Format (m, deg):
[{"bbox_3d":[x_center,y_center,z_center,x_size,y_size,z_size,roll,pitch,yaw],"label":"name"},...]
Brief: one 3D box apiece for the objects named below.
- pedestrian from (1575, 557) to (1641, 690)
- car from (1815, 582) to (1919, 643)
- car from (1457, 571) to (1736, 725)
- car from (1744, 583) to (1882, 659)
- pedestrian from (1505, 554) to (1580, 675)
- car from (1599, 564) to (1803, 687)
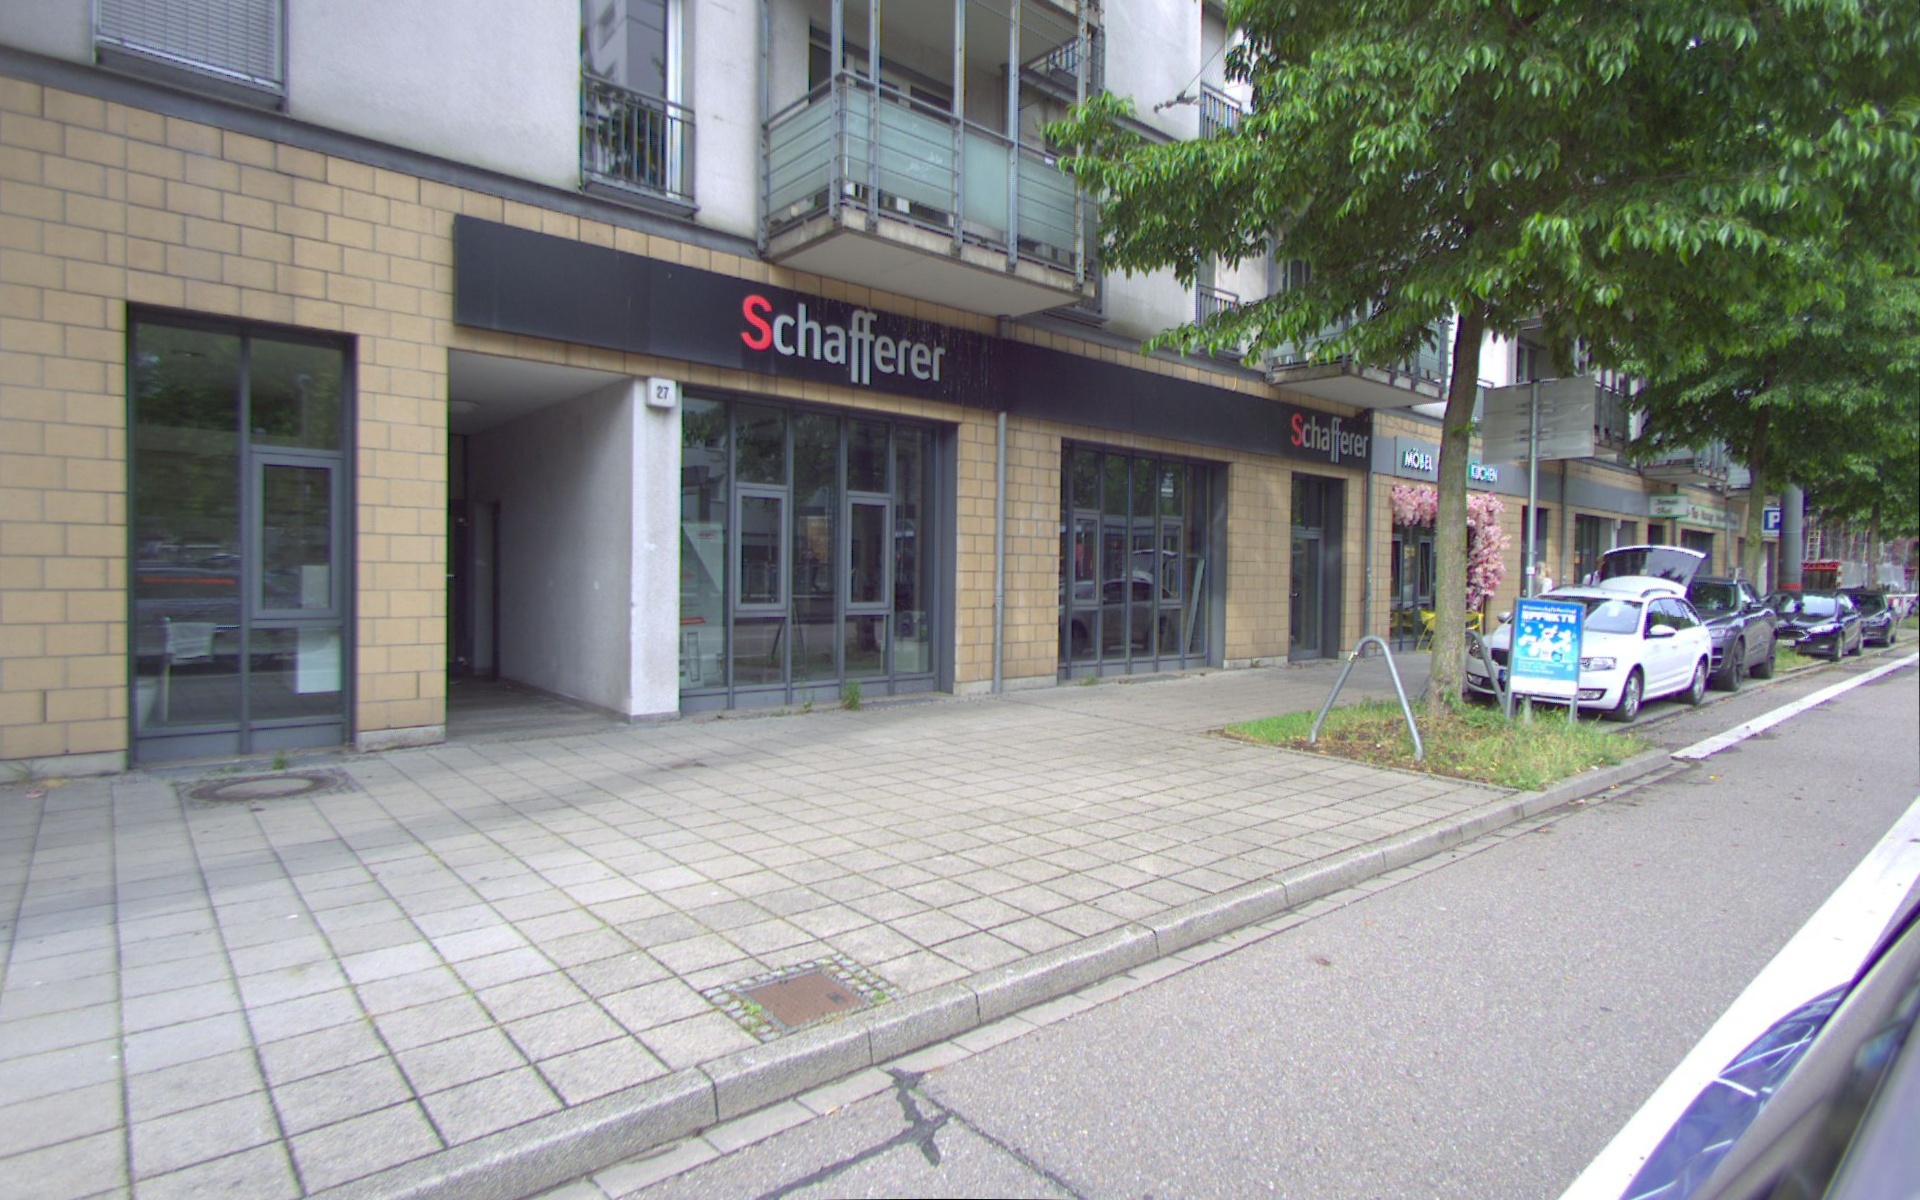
[{"bbox_3d":[9.607,0.326,15.007,0.588,1.907,0.656,0,1,-41],"label":"pedestrian"},{"bbox_3d":[24.144,0.286,26.862,3.603,1.417,1.612,-1,5,-41],"label":"car"},{"bbox_3d":[8.110,0.472,12.746,4.233,1.539,1.738,-1,5,-41],"label":"car"},{"bbox_3d":[18.623,0.385,22.036,4.095,1.394,1.612,-1,5,-41],"label":"car"},{"bbox_3d":[8.633,0.203,15.014,0.723,1.738,0.619,0,2,-27],"label":"pedestrian"},{"bbox_3d":[11.783,0.317,16.019,3.732,1.630,1.738,-1,5,-41],"label":"car"}]
